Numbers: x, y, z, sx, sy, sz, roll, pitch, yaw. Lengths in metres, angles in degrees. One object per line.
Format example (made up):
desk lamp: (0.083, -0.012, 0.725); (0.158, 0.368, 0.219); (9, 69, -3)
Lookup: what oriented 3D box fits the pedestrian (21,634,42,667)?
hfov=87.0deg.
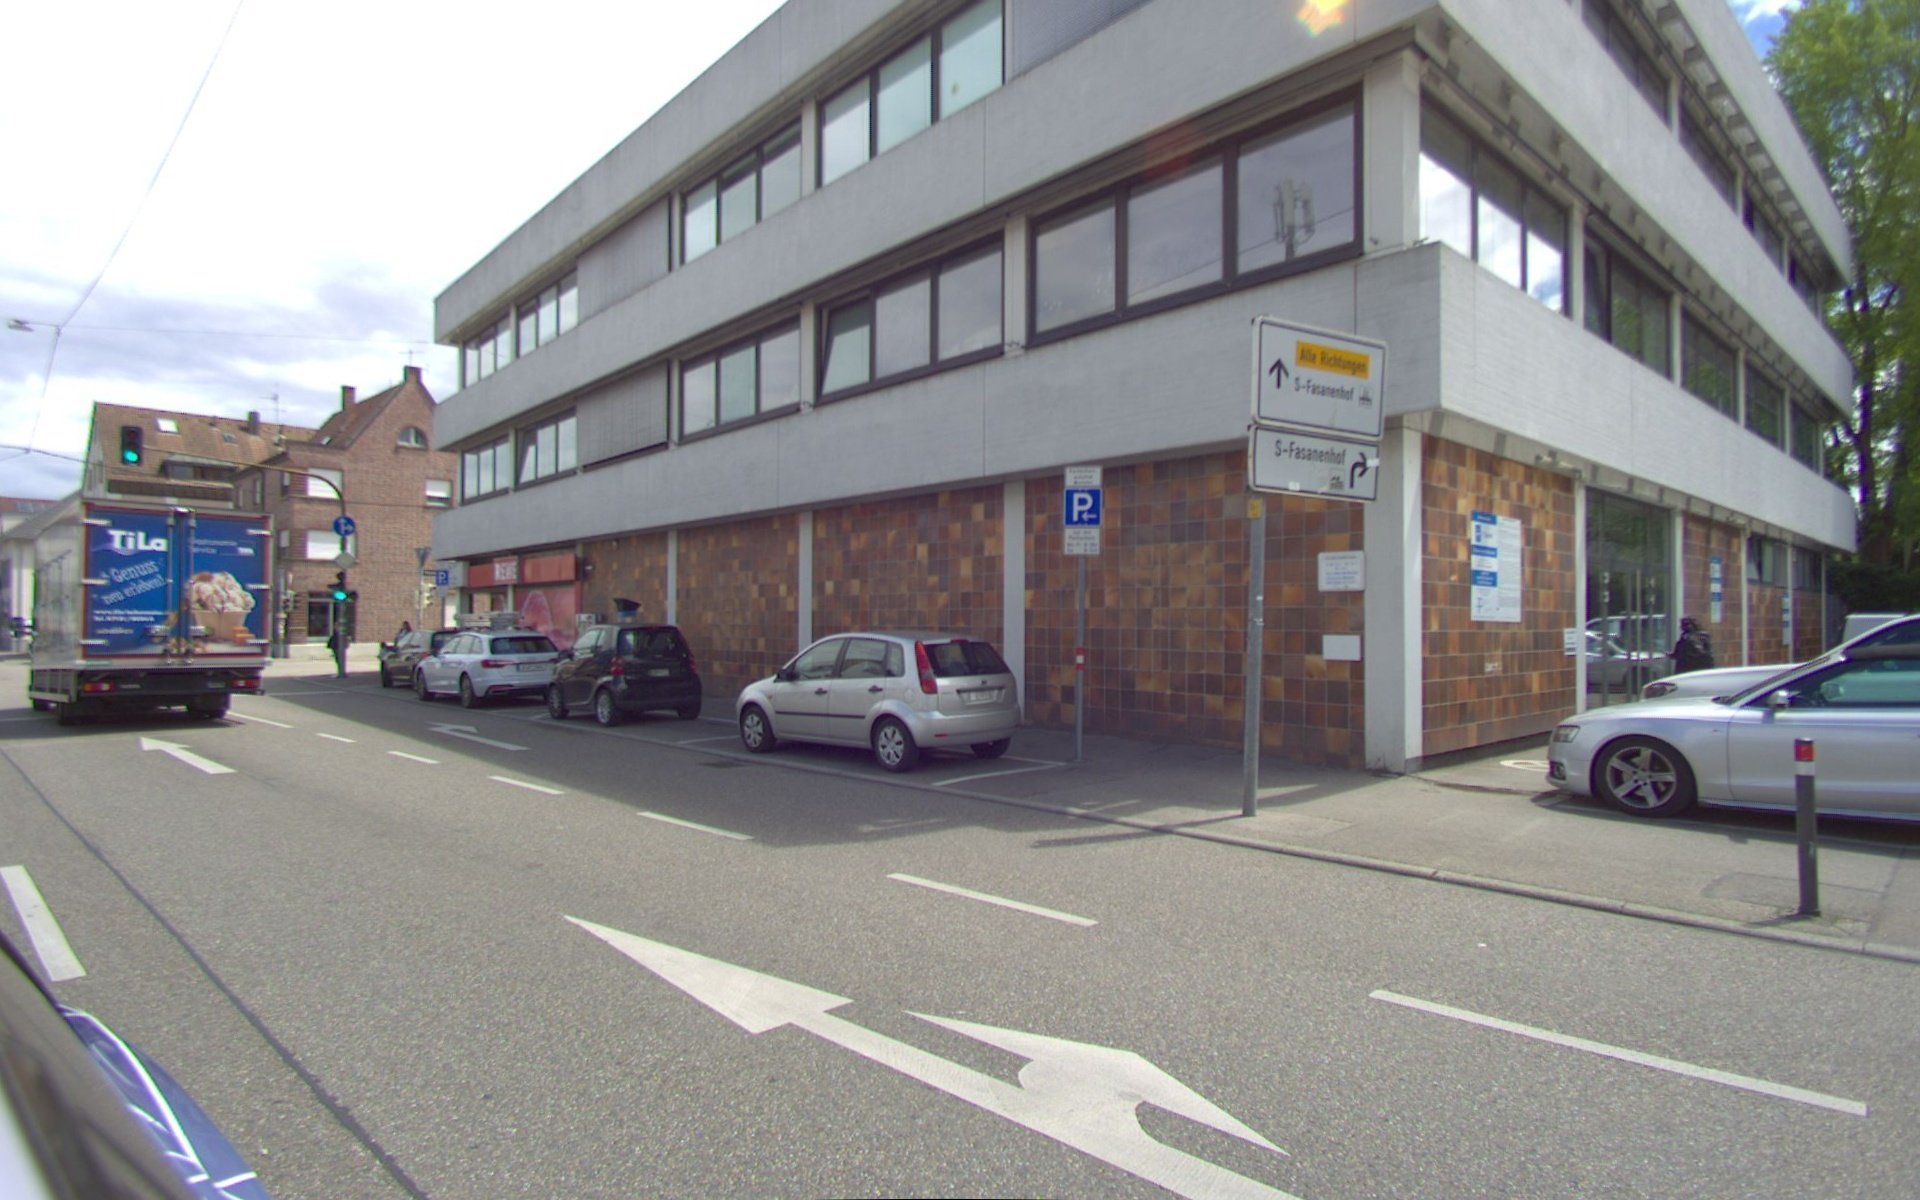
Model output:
pedestrian: (-48.565, 2.644, 52.935); (0.767, 1.708, 0.797); (2, -3, -41)

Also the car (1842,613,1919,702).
car: (22.547, 1.242, 21.812); (1.944, 1.956, 5.095); (2, -3, -41)

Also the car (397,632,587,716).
car: (-9.601, 1.404, 20.549); (2.020, 1.455, 4.956); (0, -2, -44)

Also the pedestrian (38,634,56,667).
pedestrian: (-48.097, 2.667, 53.320); (0.673, 1.729, 0.878); (2, -3, -41)

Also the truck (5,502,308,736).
truck: (-13.946, 0.374, 17.253); (8.089, 3.116, 2.822); (-2, -3, 43)

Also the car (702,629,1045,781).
car: (-1.161, 1.087, 11.855); (4.149, 1.433, 1.703); (-2, -2, 44)

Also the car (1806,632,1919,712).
car: (18.639, 1.340, 18.989); (1.823, 1.472, 4.005); (2, -3, -41)

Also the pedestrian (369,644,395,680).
pedestrian: (-17.691, 1.885, 30.966); (0.552, 1.065, 0.663); (0, -1, -41)

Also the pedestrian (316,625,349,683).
pedestrian: (-18.500, 1.572, 29.854); (0.709, 1.657, 0.682); (0, -2, -42)

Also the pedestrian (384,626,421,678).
pedestrian: (-17.226, 1.587, 31.258); (0.809, 1.566, 0.847); (0, -1, -42)

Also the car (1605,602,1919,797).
car: (8.899, 0.892, 9.032); (1.927, 1.632, 4.937); (5, -5, -40)

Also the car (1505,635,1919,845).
car: (6.917, 0.939, 7.337); (1.928, 1.368, 4.860); (2, -3, -43)

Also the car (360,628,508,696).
car: (-13.001, 1.467, 24.883); (4.287, 1.486, 2.021); (-2, -2, 45)

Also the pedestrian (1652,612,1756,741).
pedestrian: (10.173, 1.028, 13.850); (0.708, 1.684, 0.996); (4, -4, -41)

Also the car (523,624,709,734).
car: (-5.615, 1.198, 16.375); (1.716, 1.568, 3.059); (0, -2, -44)
